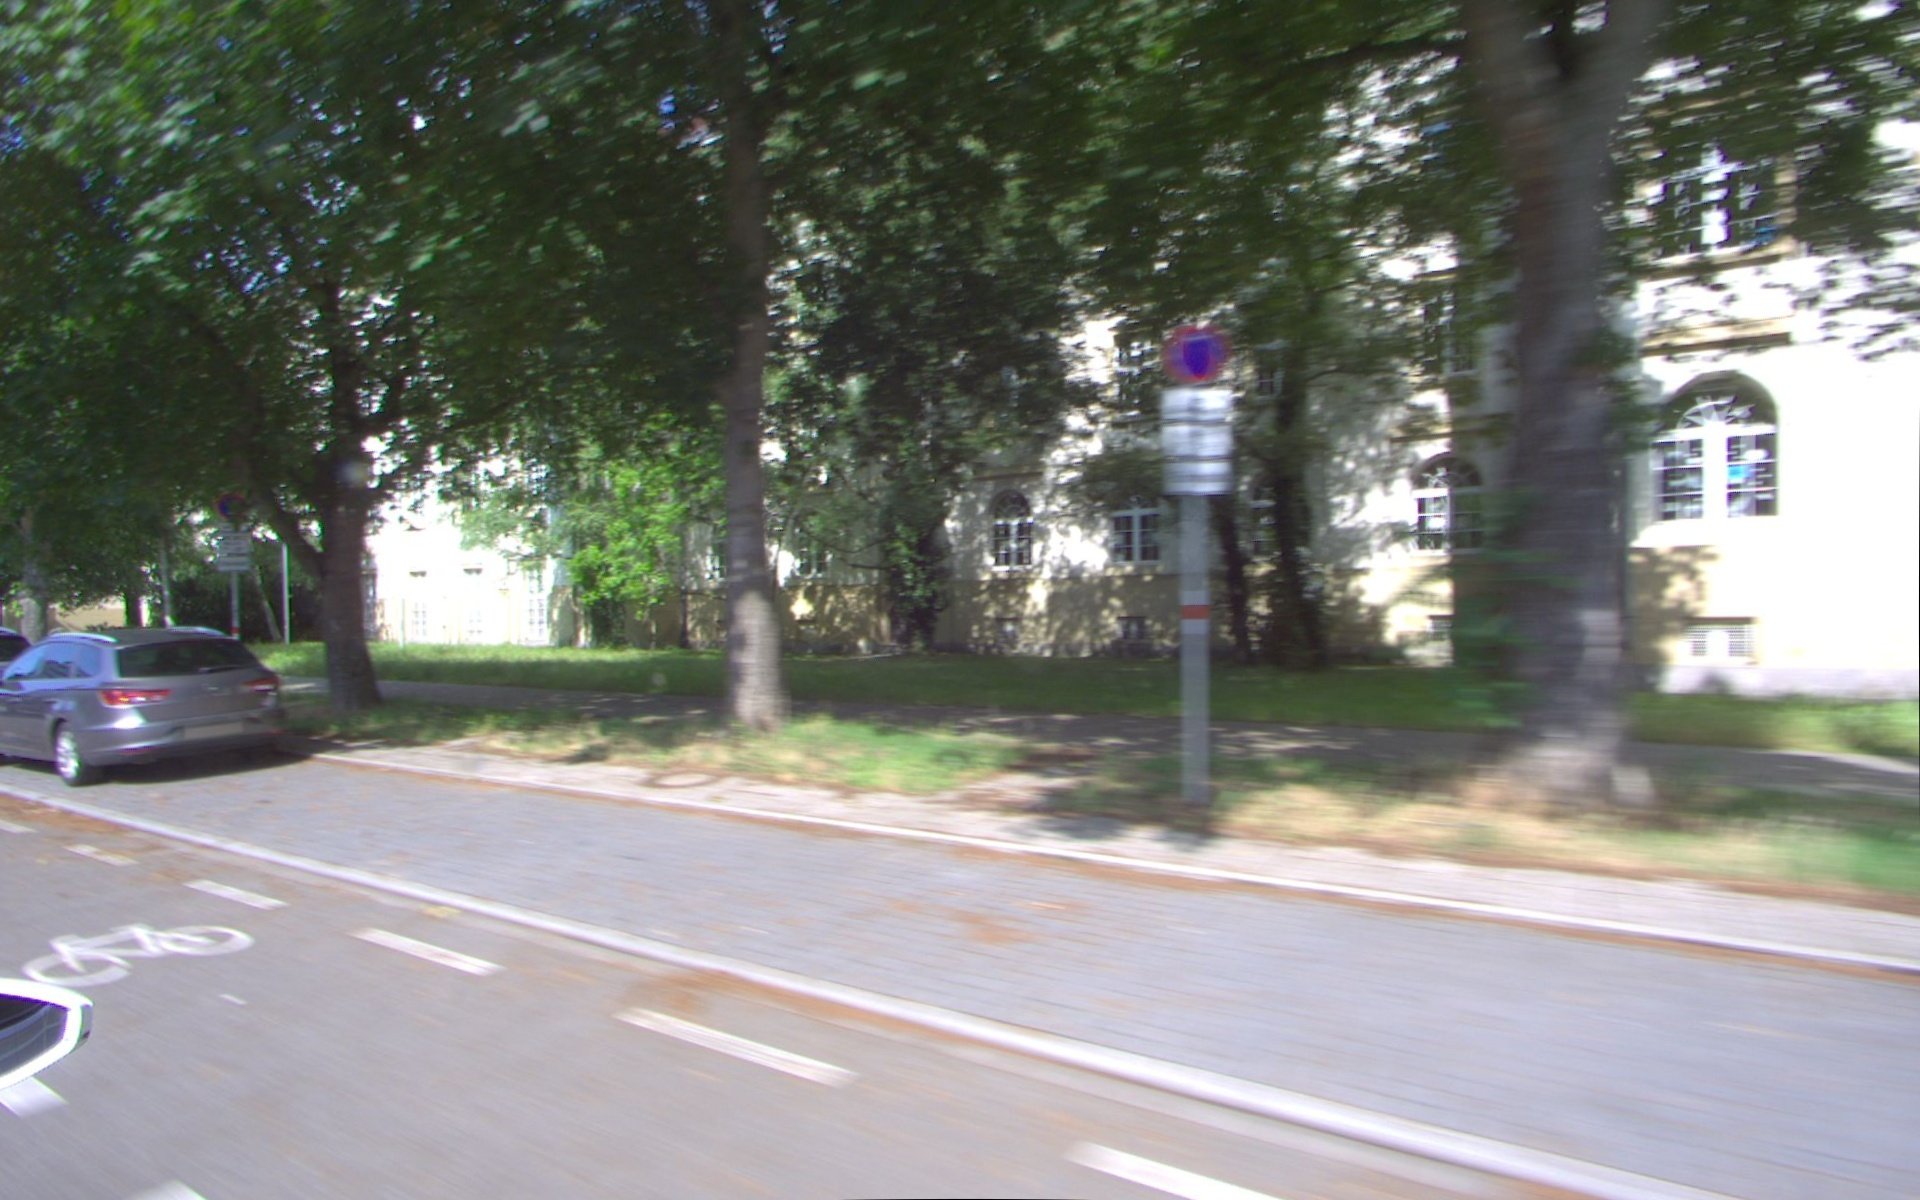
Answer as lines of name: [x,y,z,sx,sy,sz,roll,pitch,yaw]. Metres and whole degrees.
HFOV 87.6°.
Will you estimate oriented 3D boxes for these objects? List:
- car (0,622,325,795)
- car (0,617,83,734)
car: [-9.148,1.018,10.956,4.589,1.420,1.824,-1,3,32]
car: [-14.577,1.030,14.227,4.978,1.461,1.823,-1,3,33]
